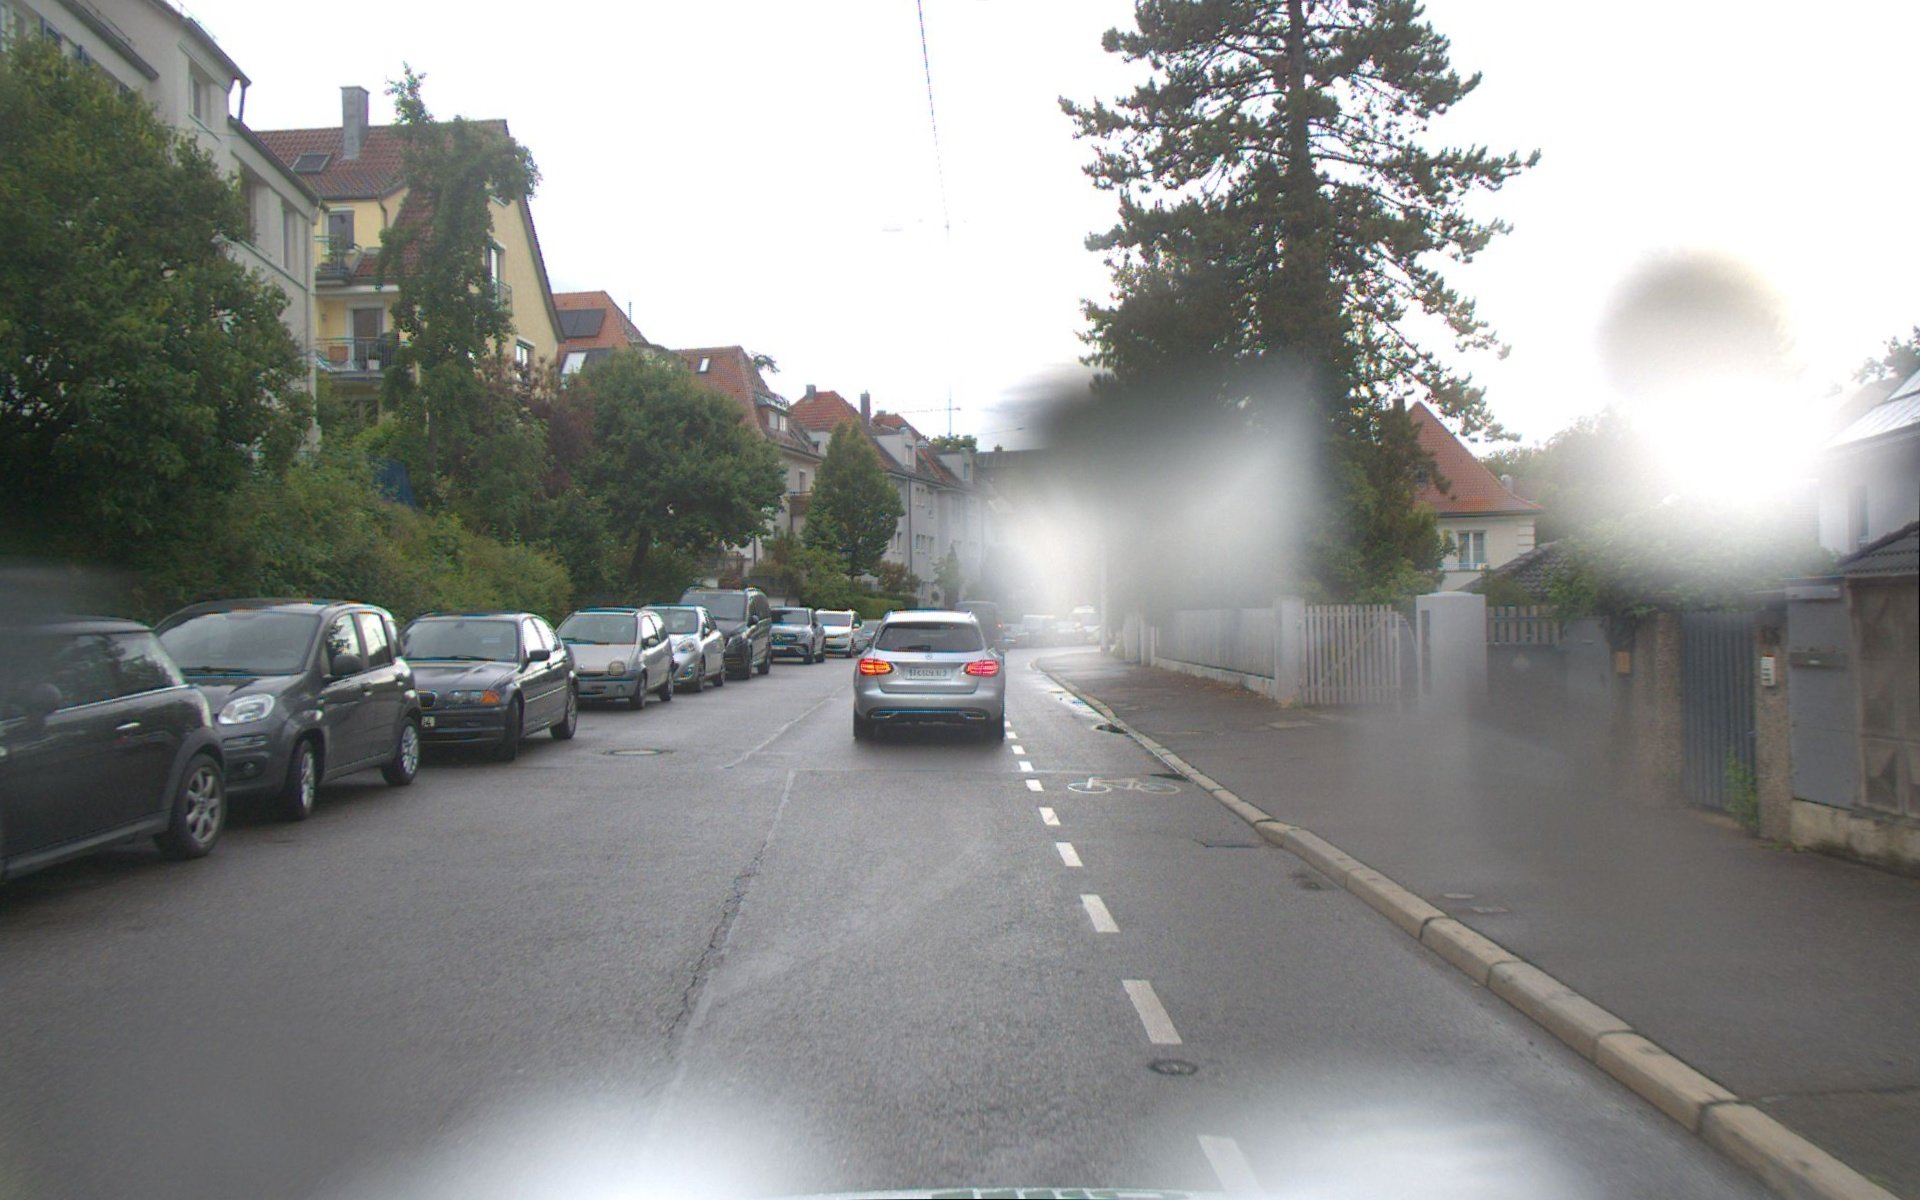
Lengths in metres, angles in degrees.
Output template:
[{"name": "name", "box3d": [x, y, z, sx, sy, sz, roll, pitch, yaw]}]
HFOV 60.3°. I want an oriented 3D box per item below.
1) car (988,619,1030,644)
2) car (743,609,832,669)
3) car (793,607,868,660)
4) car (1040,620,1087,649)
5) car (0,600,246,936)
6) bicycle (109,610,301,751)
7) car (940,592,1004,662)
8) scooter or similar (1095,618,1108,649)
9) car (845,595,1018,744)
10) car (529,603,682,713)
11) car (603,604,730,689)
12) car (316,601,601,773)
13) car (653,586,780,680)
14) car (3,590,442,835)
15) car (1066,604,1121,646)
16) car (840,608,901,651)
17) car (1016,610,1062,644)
[{"name": "car", "box3d": [2.978, 1.891, 99.279, 1.608, 1.442, 4.616, 1, -1, 14]}, {"name": "car", "box3d": [-5.108, 1.129, 49.635, 1.952, 1.608, 4.762, 2, 0, 2]}, {"name": "car", "box3d": [-4.626, 1.173, 59.636, 1.952, 1.732, 4.740, 2, 0, 4]}, {"name": "car", "box3d": [7.050, 2.338, 111.908, 1.952, 1.718, 4.678, 1, 1, 20]}, {"name": "car", "box3d": [-5.353, 0.785, 8.398, 1.855, 1.472, 3.813, 0, 1, -1]}, {"name": "bicycle", "box3d": [-7.901, 0.805, 17.459, 0.983, 1.324, 2.291, 0, 1, 0]}, {"name": "car", "box3d": [0.374, 0.790, 48.489, 1.805, 1.937, 4.000, 1, -1, 1]}, {"name": "scooter or similar", "box3d": [6.338, 1.502, 73.897, 0.440, 1.330, 1.482, -2, -2, 9]}, {"name": "car", "box3d": [-0.244, 0.761, 19.966, 1.778, 1.584, 4.002, 1, 0, 3]}, {"name": "car", "box3d": [-5.354, 0.824, 25.366, 1.613, 1.472, 3.627, 0, 1, -1]}, {"name": "car", "box3d": [-5.350, 0.829, 30.585, 1.659, 1.472, 3.813, 0, -1, 0]}, {"name": "car", "box3d": [-5.095, 0.809, 17.439, 1.720, 1.472, 4.416, 0, 1, -1]}, {"name": "car", "box3d": [-5.338, 0.700, 37.025, 1.952, 1.911, 5.356, 1, 0, 1]}, {"name": "car", "box3d": [-5.329, 0.727, 12.526, 1.662, 1.568, 3.813, 0, 0, -1]}, {"name": "car", "box3d": [9.639, 1.782, 119.220, 2.341, 2.820, 6.533, 1, 1, 19]}, {"name": "car", "box3d": [-3.649, 1.200, 68.125, 1.754, 1.608, 4.141, 2, 0, 7]}, {"name": "car", "box3d": [5.060, 1.758, 105.651, 1.791, 2.092, 5.012, 1, -1, 17]}]
